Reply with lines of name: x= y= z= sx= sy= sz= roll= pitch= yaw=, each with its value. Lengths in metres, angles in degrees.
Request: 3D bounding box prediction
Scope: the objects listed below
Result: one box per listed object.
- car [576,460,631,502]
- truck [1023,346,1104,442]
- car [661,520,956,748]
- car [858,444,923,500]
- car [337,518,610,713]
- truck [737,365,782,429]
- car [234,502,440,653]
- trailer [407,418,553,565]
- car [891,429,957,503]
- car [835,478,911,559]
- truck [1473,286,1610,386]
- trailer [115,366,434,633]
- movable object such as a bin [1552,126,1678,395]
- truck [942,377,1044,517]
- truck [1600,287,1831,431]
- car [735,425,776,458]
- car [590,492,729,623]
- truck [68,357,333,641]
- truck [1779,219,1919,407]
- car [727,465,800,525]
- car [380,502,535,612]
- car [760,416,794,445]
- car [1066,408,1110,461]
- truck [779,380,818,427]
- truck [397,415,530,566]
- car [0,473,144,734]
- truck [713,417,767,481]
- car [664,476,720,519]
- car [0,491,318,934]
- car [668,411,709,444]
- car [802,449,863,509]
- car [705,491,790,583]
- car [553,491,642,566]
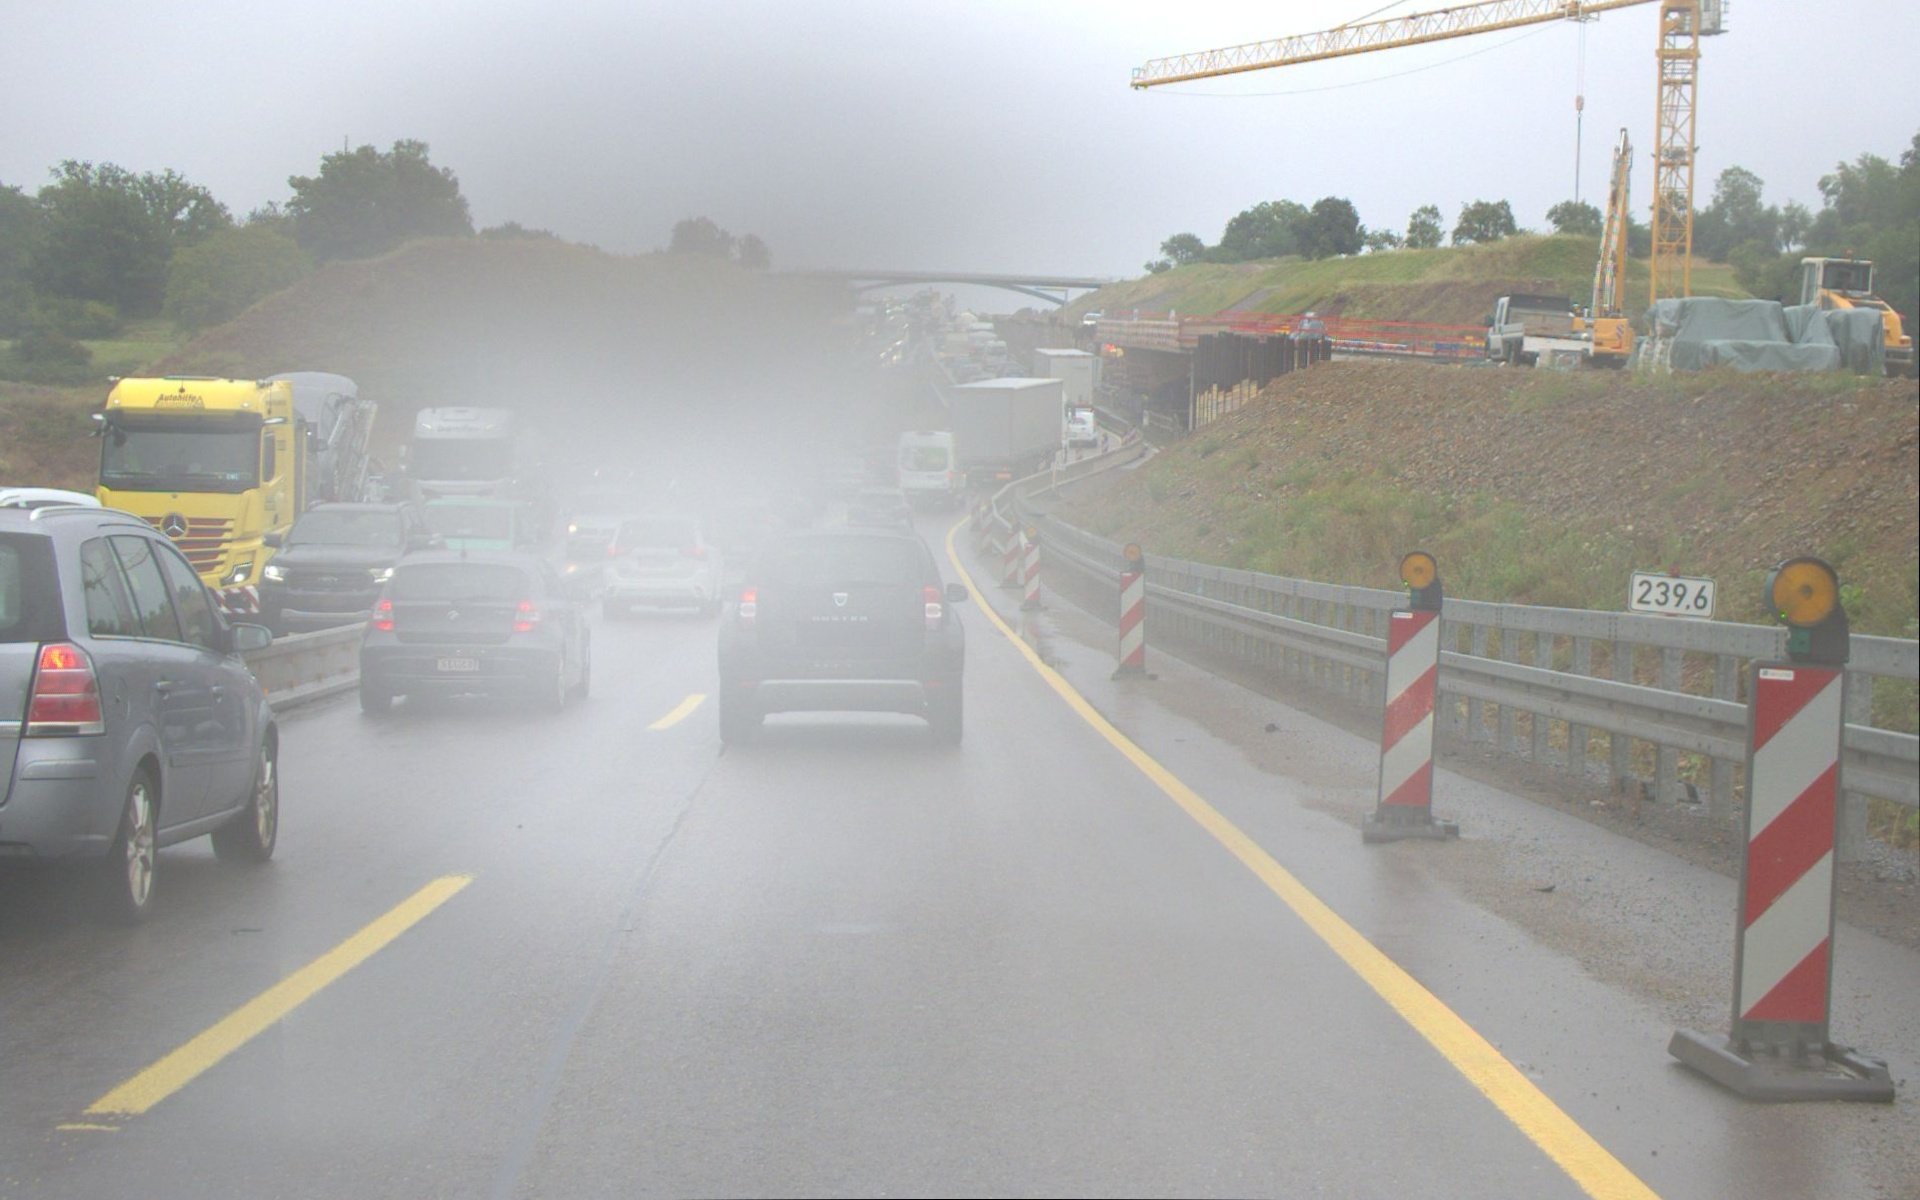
car: x=-13.639 y=-4.562 z=131.755 sx=1.787 sy=1.541 sz=4.001 roll=1 pitch=2 yaw=-2
truck: x=5.916 y=-11.815 z=198.932 sx=3.803 sy=5.025 sz=12.923 roll=1 pitch=1 yaw=-2
car: x=-1.096 y=0.195 z=26.532 sx=2.081 sy=1.595 sz=4.141 roll=1 pitch=1 yaw=0
car: x=-2.820 y=-5.195 z=139.818 sx=1.994 sy=2.155 sz=4.139 roll=1 pitch=1 yaw=8
car: x=-4.249 y=0.082 z=30.609 sx=1.993 sy=1.595 sz=4.141 roll=1 pitch=1 yaw=-3
truck: x=-12.741 y=-12.959 z=219.310 sx=2.641 sy=3.956 sz=9.216 roll=1 pitch=4 yaw=-2
car: x=-7.909 y=-0.323 z=44.084 sx=1.787 sy=1.799 sz=5.190 roll=0 pitch=1 yaw=-1
trailer: x=-12.831 y=-2.896 z=92.792 sx=2.620 sy=3.665 sz=12.005 roll=1 pitch=1 yaw=-2
car: x=-1.233 y=-4.641 z=119.689 sx=1.994 sy=2.475 sz=4.982 roll=1 pitch=1 yaw=3
car: x=-2.386 y=-2.261 z=95.440 sx=1.993 sy=2.155 sz=4.141 roll=1 pitch=1 yaw=0
truck: x=17.198 y=-7.793 z=102.025 sx=2.645 sy=2.546 sz=6.985 roll=1 pitch=1 yaw=-2
trailer: x=-11.625 y=-1.706 z=60.049 sx=2.749 sy=4.028 sz=15.361 roll=1 pitch=1 yaw=-1
movable object such as a bin: x=28.499 y=-14.529 z=149.141 sx=4.721 sy=10.804 sz=10.298 roll=1 pitch=1 yaw=13
truck: x=1.425 y=-6.130 z=139.554 sx=3.102 sy=5.407 sz=9.441 roll=1 pitch=1 yaw=6
truck: x=17.410 y=-5.517 z=79.931 sx=3.395 sy=2.865 sz=8.960 roll=1 pitch=1 yaw=0
car: x=-9.838 y=-7.644 z=165.769 sx=1.787 sy=1.533 sz=4.312 roll=0 pitch=2 yaw=-1
car: x=-4.817 y=-0.704 z=55.569 sx=1.993 sy=2.007 sz=3.894 roll=1 pitch=1 yaw=-2
truck: x=-11.501 y=-1.522 z=52.580 sx=2.749 sy=4.048 sz=6.148 roll=1 pitch=1 yaw=-1
truck: x=22.015 y=-6.928 z=83.978 sx=2.373 sy=4.203 sz=5.980 roll=1 pitch=1 yaw=-2
car: x=-5.940 y=-3.174 z=104.423 sx=1.993 sy=1.755 sz=3.815 roll=1 pitch=1 yaw=0
car: x=-8.431 y=-0.764 z=58.045 sx=1.993 sy=1.753 sz=4.688 roll=1 pitch=2 yaw=-1
car: x=-9.559 y=-8.860 z=179.730 sx=1.676 sy=1.518 sz=4.346 roll=0 pitch=3 yaw=-2
car: x=6.380 y=-8.280 z=172.232 sx=1.993 sy=2.475 sz=4.741 roll=1 pitch=1 yaw=0
truck: x=-9.486 y=-11.527 z=201.843 sx=2.147 sy=2.704 sz=6.017 roll=1 pitch=3 yaw=-2
truck: x=-12.617 y=-2.779 z=87.782 sx=2.620 sy=3.665 sz=6.596 roll=1 pitch=1 yaw=-2
car: x=-7.526 y=-0.019 z=25.324 sx=1.874 sy=1.786 sz=5.360 roll=0 pitch=1 yaw=-1
truck: x=-9.362 y=-6.403 z=146.794 sx=2.078 sy=2.567 sz=5.963 roll=1 pitch=1 yaw=-2
car: x=-9.752 y=-3.745 z=125.289 sx=1.772 sy=1.499 sz=4.680 roll=0 pitch=2 yaw=-2
car: x=-4.072 y=0.347 z=14.453 sx=1.993 sy=1.595 sz=4.141 roll=1 pitch=1 yaw=0
car: x=-13.411 y=-8.524 z=169.969 sx=1.787 sy=1.533 sz=4.312 roll=0 pitch=2 yaw=-1
car: x=-4.786 y=-4.530 z=129.107 sx=1.993 sy=2.155 sz=4.140 roll=1 pitch=1 yaw=2
car: x=-5.184 y=-1.544 z=83.437 sx=1.993 sy=2.155 sz=4.141 roll=1 pitch=1 yaw=-4
car: x=-9.049 y=-1.803 z=86.031 sx=1.865 sy=1.794 sz=4.163 roll=1 pitch=1 yaw=-2
